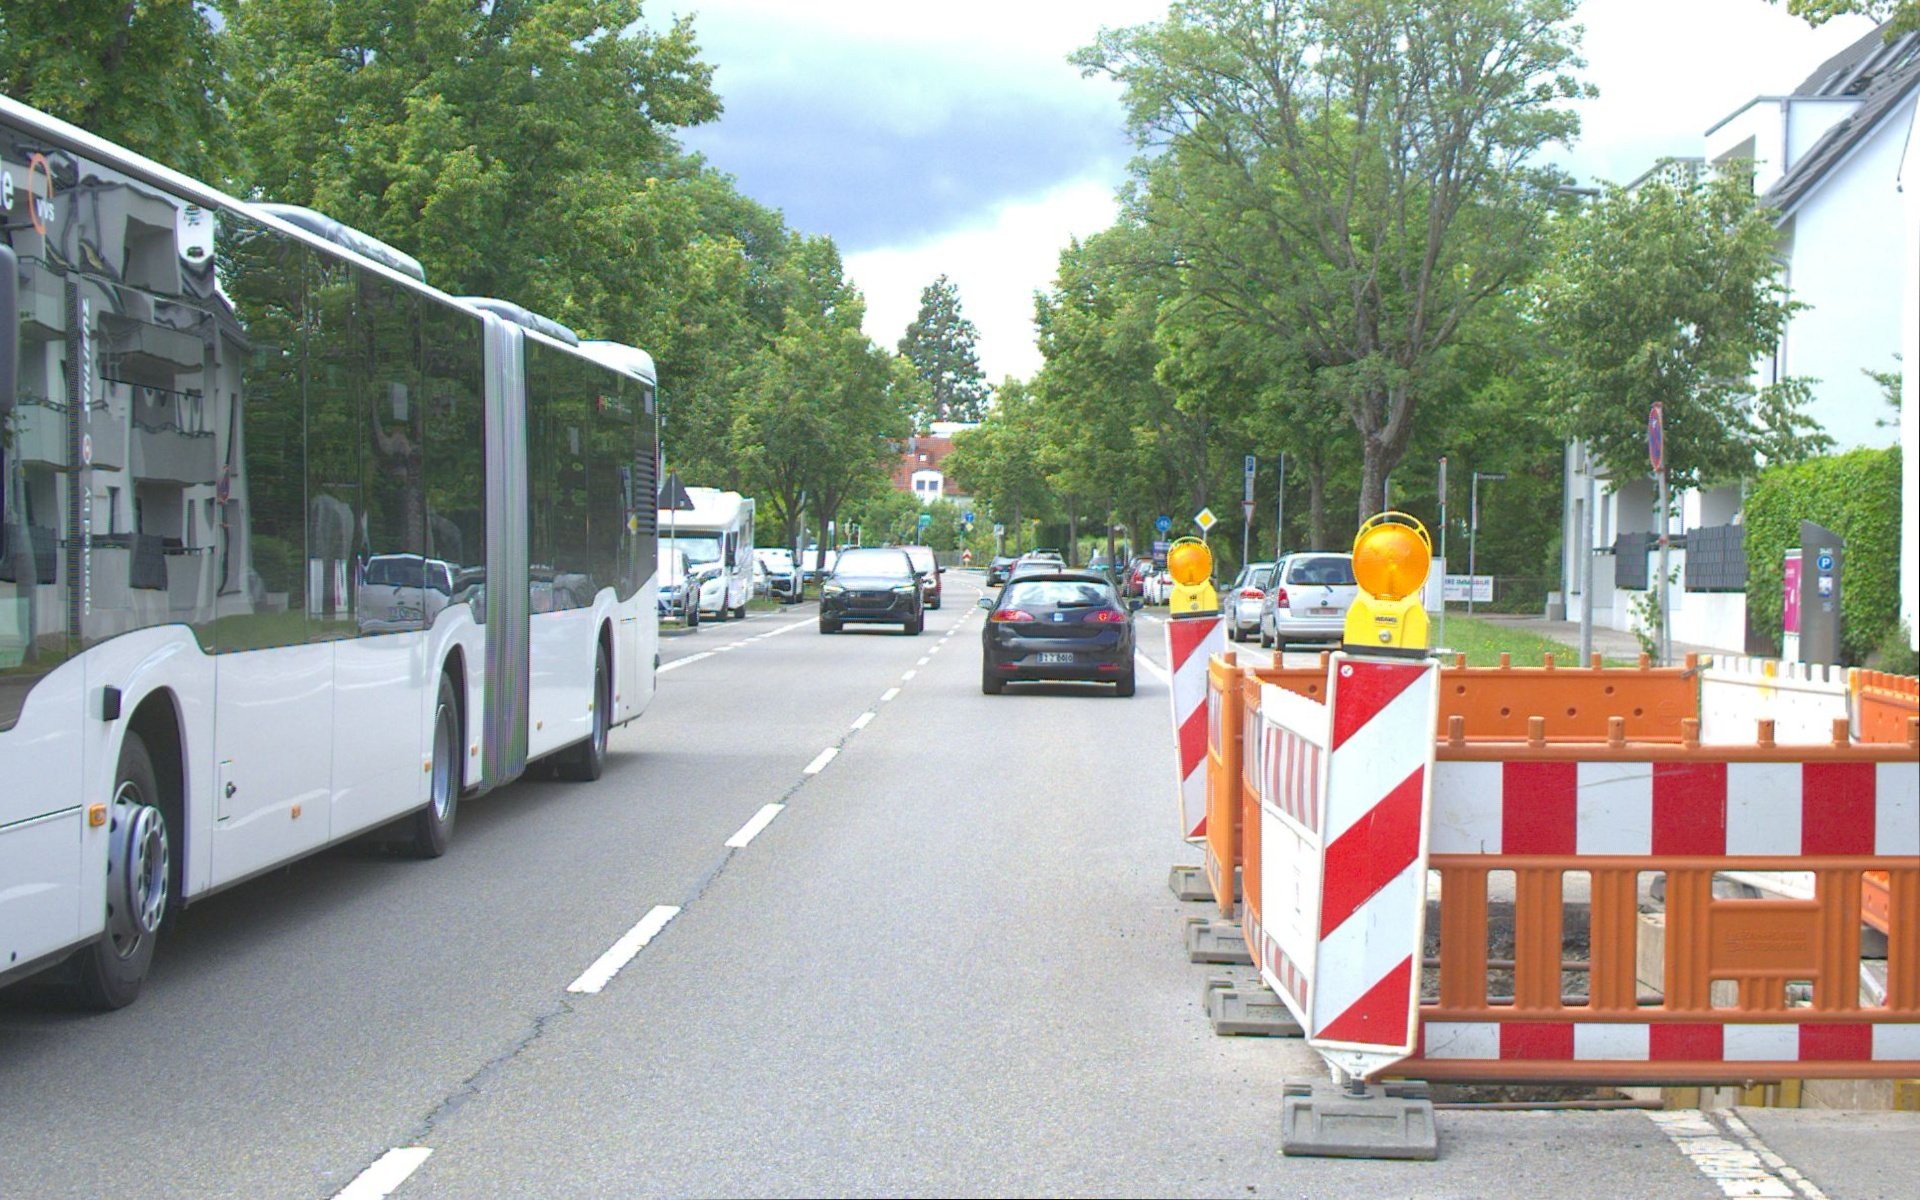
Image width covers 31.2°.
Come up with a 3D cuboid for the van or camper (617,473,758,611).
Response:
[{"bbox_3d":[-6.180,-1.325,79.054,2.435,2.999,7.693,1,1,1],"label":"van or camper"}]

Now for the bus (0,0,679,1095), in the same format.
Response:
[{"bbox_3d":[-3.866,-0.289,17.663,2.805,3.277,18.044,1,0,2],"label":"bus"}]

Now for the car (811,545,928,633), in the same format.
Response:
[{"bbox_3d":[-1.750,-0.233,67.972,1.994,1.662,4.589,-1,1,3],"label":"car"}]

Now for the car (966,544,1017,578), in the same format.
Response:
[{"bbox_3d":[1.413,-1.777,157.185,1.993,1.503,4.001,1,0,-4],"label":"car"}]

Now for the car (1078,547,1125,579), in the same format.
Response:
[{"bbox_3d":[6.486,-1.709,157.953,1.683,1.427,4.045,1,1,-4],"label":"car"}]

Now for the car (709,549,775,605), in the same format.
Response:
[{"bbox_3d":[-6.004,-0.654,95.078,1.555,1.465,4.452,1,1,-1],"label":"car"}]

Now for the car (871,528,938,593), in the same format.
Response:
[{"bbox_3d":[-1.585,-1.145,99.179,1.760,1.797,4.769,1,1,1],"label":"car"}]

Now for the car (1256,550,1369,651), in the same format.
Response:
[{"bbox_3d":[6.024,-0.014,59.032,1.632,1.660,3.648,1,1,1],"label":"car"}]

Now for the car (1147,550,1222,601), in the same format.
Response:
[{"bbox_3d":[6.676,-0.740,102.627,2.021,1.438,5.025,1,1,1],"label":"car"}]

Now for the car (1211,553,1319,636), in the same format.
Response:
[{"bbox_3d":[5.732,-0.130,64.911,1.687,1.488,4.227,1,1,1],"label":"car"}]

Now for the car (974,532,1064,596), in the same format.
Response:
[{"bbox_3d":[1.480,-0.897,88.267,1.993,1.552,4.000,1,0,-3],"label":"car"}]

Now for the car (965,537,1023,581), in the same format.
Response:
[{"bbox_3d":[1.200,-1.492,123.904,1.993,1.525,4.000,1,1,-1],"label":"car"}]

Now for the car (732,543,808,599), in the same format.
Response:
[{"bbox_3d":[-5.773,-0.903,104.889,1.817,1.646,4.699,1,1,3],"label":"car"}]

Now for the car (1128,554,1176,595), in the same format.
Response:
[{"bbox_3d":[6.856,-0.929,122.932,1.638,1.415,4.000,1,1,3],"label":"car"}]

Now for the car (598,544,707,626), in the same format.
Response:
[{"bbox_3d":[-6.271,-0.323,70.413,1.722,1.595,4.272,1,1,2],"label":"car"}]

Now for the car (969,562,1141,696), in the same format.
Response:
[{"bbox_3d":[1.044,0.298,39.516,1.783,1.444,3.558,1,1,-1],"label":"car"}]
